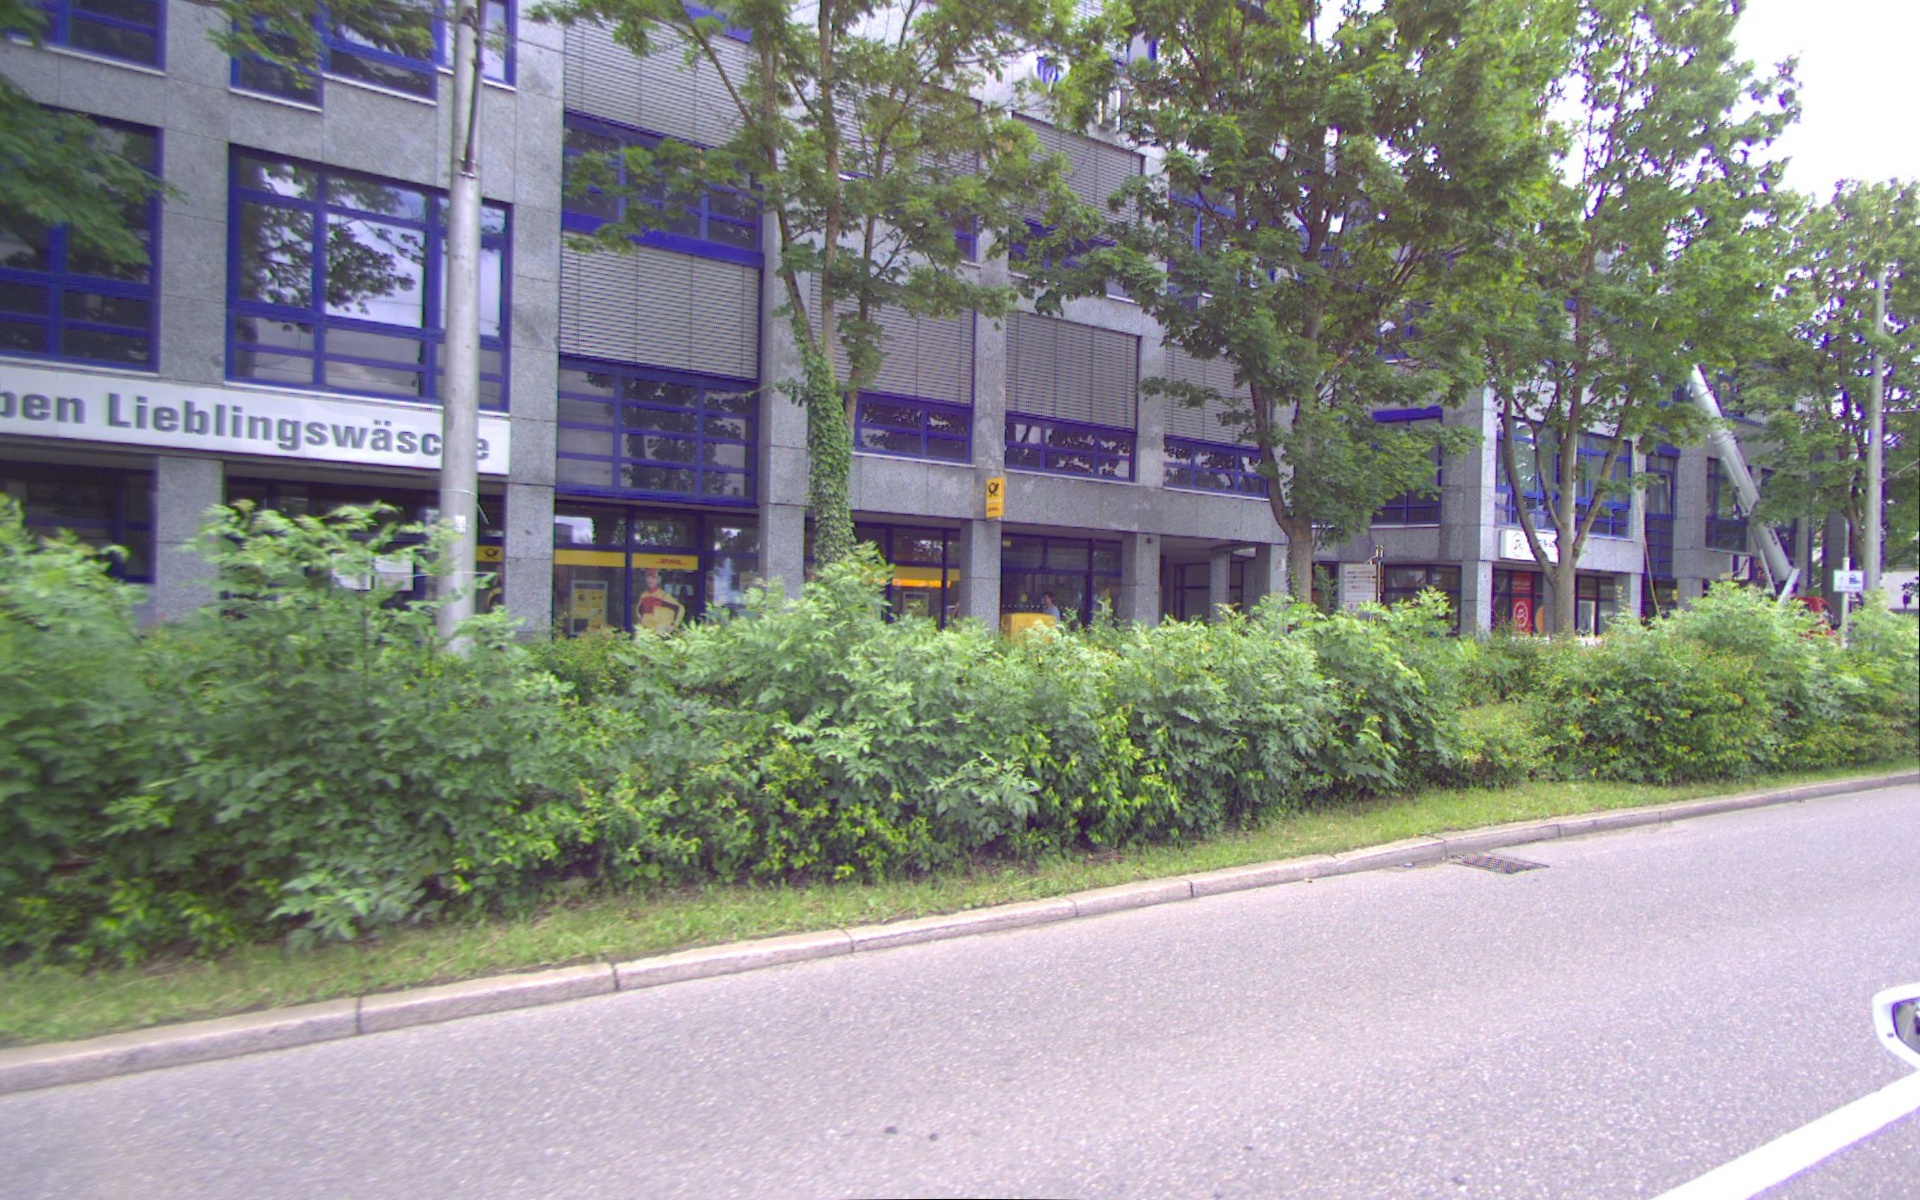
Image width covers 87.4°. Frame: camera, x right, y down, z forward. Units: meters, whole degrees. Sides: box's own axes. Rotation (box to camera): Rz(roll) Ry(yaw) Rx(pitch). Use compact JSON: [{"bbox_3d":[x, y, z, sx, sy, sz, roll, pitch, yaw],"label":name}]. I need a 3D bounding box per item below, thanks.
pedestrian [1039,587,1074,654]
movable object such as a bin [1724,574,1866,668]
[{"bbox_3d":[1.974,0.418,20.564,0.552,1.352,0.362,1,3,-35],"label":"pedestrian"},{"bbox_3d":[24.882,0.597,29.920,4.079,2.566,1.895,1,3,-31],"label":"movable object such as a bin"}]
